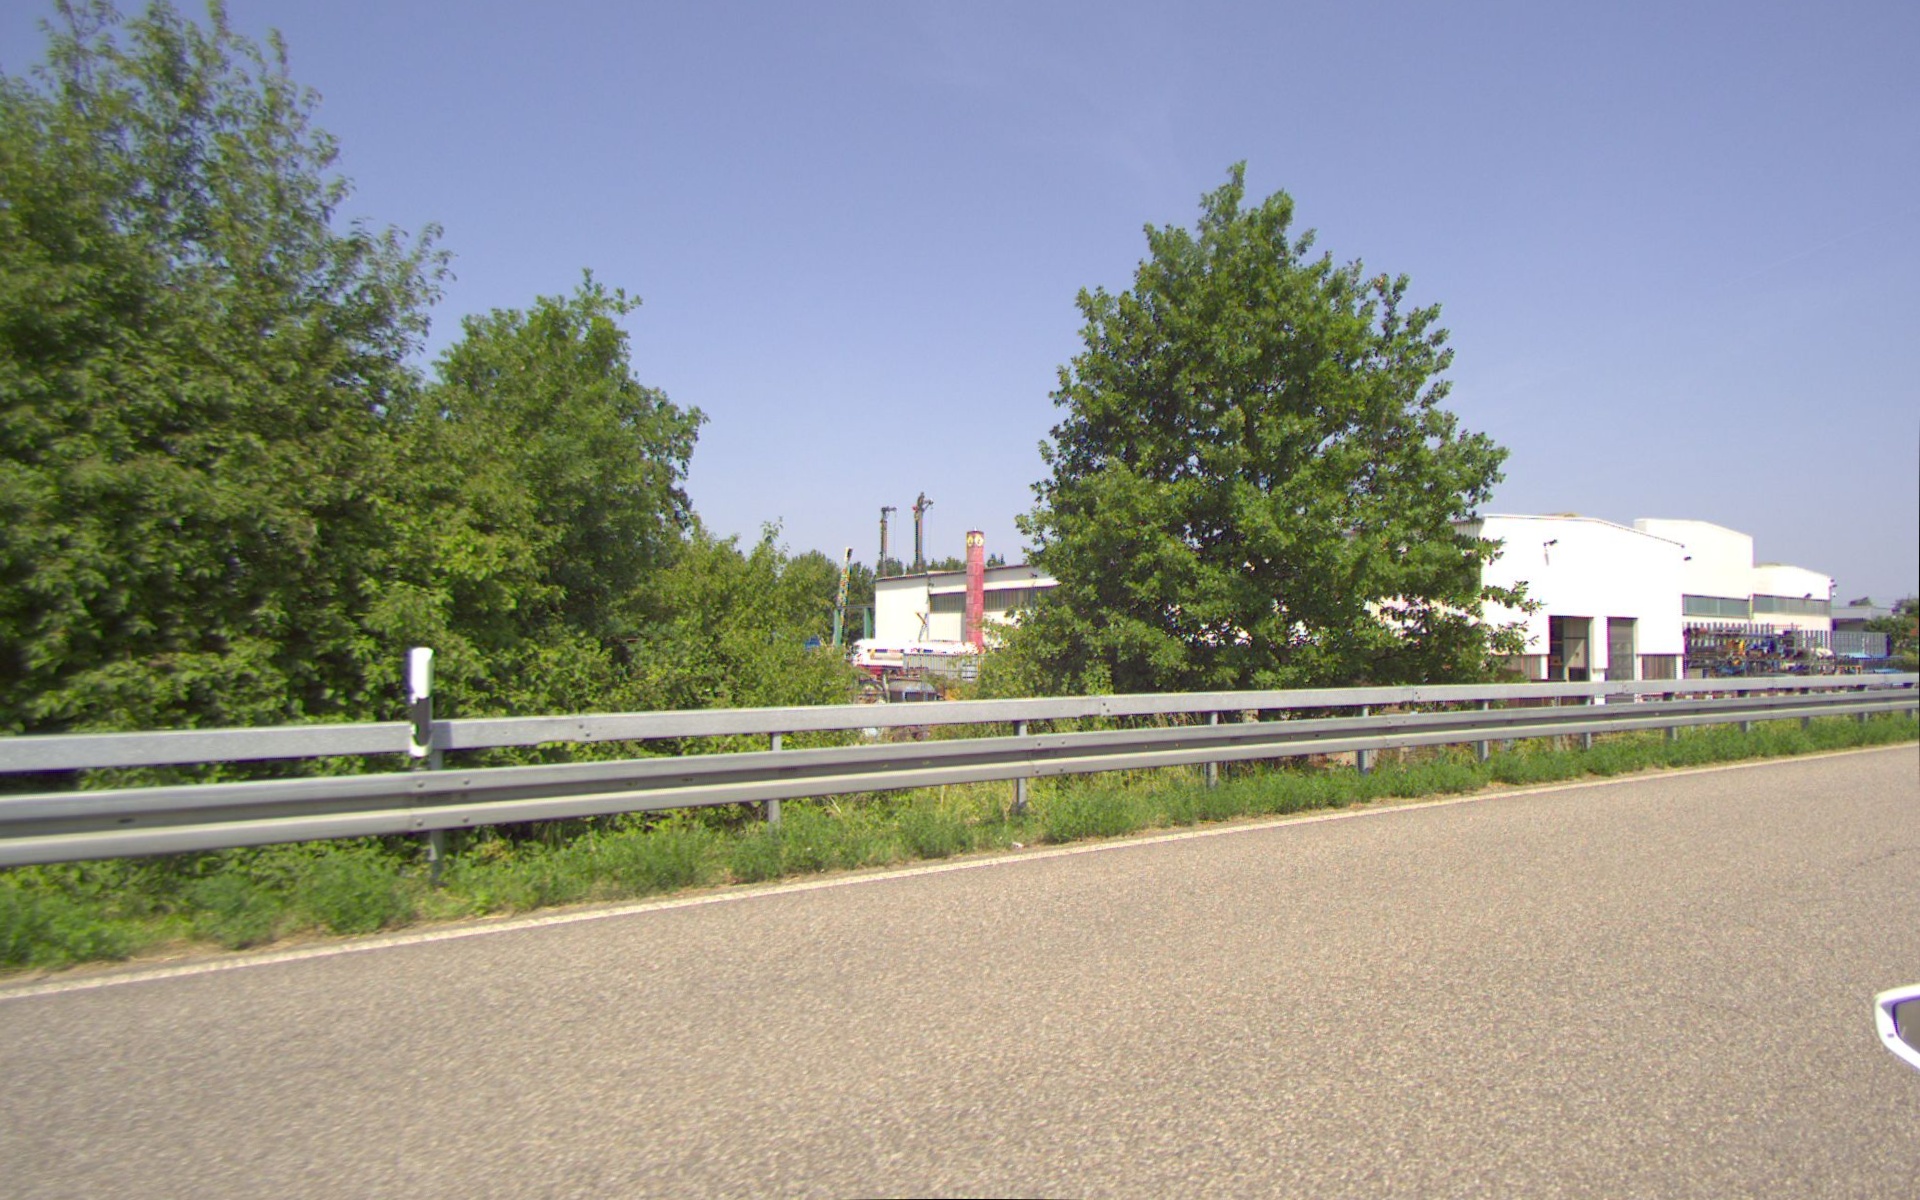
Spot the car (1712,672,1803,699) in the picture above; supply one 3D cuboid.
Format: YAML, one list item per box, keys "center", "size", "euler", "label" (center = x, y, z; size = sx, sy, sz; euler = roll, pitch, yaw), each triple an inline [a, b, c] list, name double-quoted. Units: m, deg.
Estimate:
- center: [48.691, 5.198, 61.394]
  size: [1.708, 1.540, 3.963]
  euler: [1, -5, -35]
  label: "car"

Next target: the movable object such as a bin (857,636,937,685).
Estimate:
- center: [-4.830, 4.514, 75.837]
  size: [3.153, 3.424, 7.084]
  euler: [1, -2, -31]
  label: "movable object such as a bin"

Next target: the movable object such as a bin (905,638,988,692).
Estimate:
- center: [-0.997, 4.378, 68.961]
  size: [3.151, 3.424, 6.075]
  euler: [1, -2, -30]
  label: "movable object such as a bin"

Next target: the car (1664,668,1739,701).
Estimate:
- center: [43.956, 5.040, 59.601]
  size: [1.657, 1.795, 3.115]
  euler: [2, -7, -33]
  label: "car"
